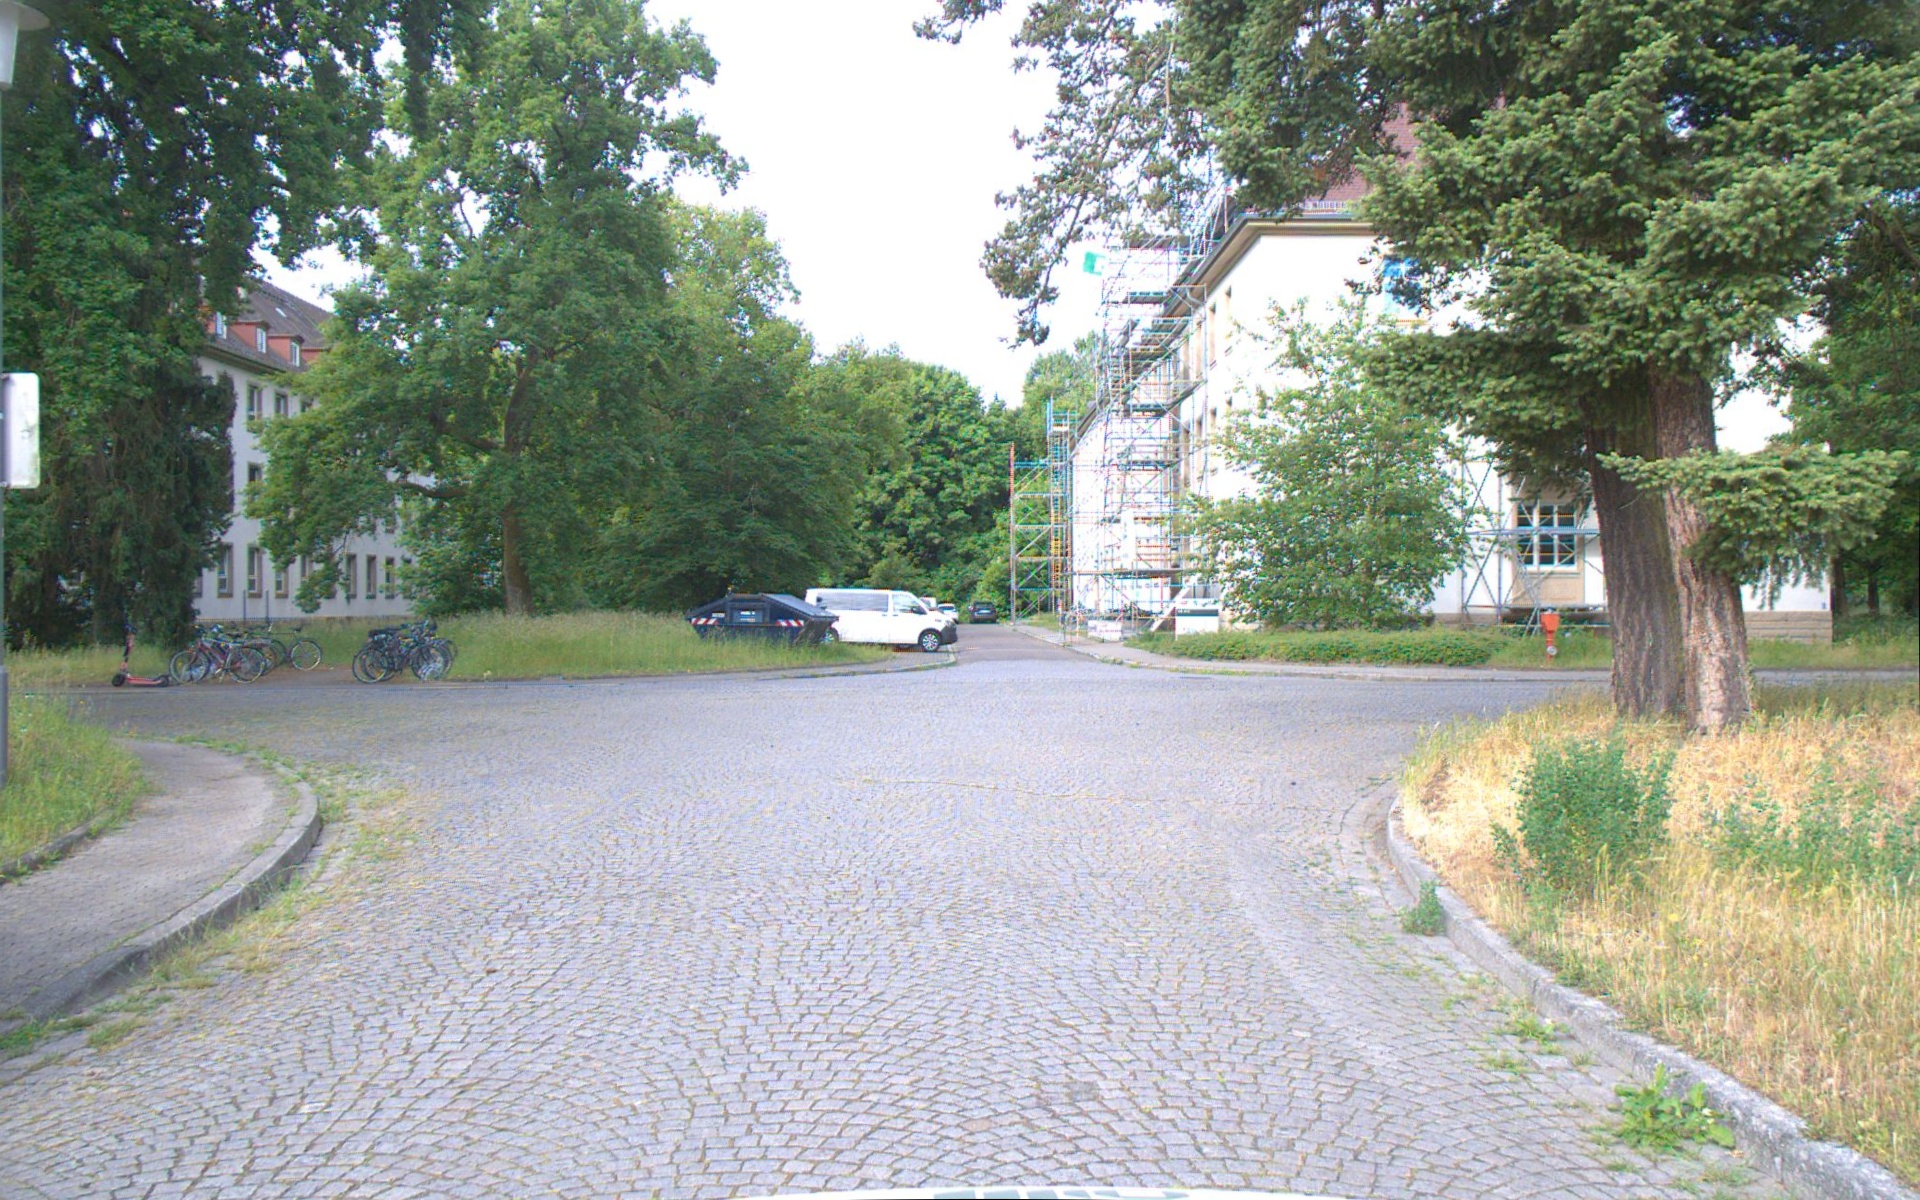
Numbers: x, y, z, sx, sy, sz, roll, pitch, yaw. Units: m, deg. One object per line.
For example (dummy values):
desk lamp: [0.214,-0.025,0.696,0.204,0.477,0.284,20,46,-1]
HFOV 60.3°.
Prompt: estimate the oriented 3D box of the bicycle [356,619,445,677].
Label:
bicycle: [-11.874,1.007,35.093,1.742,1.122,0.699,-2,2,-20]

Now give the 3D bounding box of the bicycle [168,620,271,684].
bicycle: [-15.114,1.053,33.790,1.867,1.244,0.640,0,2,-20]

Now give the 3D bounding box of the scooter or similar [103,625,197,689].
scooter or similar: [-16.177,1.129,33.053,1.515,1.216,0.682,-1,1,3]

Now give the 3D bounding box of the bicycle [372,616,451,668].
bicycle: [-12.938,0.973,39.018,1.745,1.124,0.538,-2,2,-20]

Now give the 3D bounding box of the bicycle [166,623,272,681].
bicycle: [-15.392,1.072,34.406,1.956,1.133,0.640,0,2,-20]

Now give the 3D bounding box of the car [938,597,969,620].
car: [-0.510,0.646,120.257,1.962,1.575,3.955,2,-1,-4]

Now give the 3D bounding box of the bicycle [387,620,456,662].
bicycle: [-13.232,1.000,40.659,1.592,0.926,0.524,-2,2,-20]

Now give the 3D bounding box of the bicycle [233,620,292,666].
bicycle: [-16.775,1.036,39.800,1.240,1.047,0.431,-2,-2,-20]

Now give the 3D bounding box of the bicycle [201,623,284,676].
bicycle: [-15.619,1.064,36.011,1.608,1.092,0.534,-1,2,-31]

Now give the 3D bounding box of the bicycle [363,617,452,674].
bicycle: [-11.970,0.974,35.849,1.767,1.122,0.699,-2,2,-20]

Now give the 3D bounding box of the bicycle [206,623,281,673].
bicycle: [-16.188,1.073,37.363,1.496,1.053,0.540,-1,2,-31]

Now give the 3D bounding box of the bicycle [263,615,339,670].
bicycle: [-15.326,0.972,38.481,1.619,1.206,0.569,-1,2,-27]

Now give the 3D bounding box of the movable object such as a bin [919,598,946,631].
movable object such as a bin: [-1.218,0.658,73.678,1.159,1.432,0.975,2,-1,0]

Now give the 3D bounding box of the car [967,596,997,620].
car: [1.643,0.611,120.433,2.020,1.621,4.001,2,-1,2]

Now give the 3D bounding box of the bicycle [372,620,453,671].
bicycle: [-12.098,0.989,36.574,1.666,1.019,0.628,-2,2,-20]

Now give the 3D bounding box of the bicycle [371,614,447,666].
bicycle: [-13.162,0.947,39.513,1.671,1.135,0.538,-2,2,-20]

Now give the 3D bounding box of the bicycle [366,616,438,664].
bicycle: [-13.484,0.964,39.981,1.592,1.077,0.524,-2,2,-20]

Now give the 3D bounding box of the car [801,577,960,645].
car: [-2.573,0.360,54.226,5.095,2.096,2.187,1,-1,-2]

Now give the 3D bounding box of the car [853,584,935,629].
car: [-3.262,0.320,81.672,3.909,2.049,1.919,2,-1,-5]

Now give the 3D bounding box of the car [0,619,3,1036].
car: [-5.642,0.819,5.145,4.340,1.505,1.682,0,0,0]

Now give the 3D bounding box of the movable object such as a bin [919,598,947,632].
movable object such as a bin: [-1.182,0.670,72.545,1.159,1.432,0.975,2,-1,0]

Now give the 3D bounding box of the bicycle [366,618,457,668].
bicycle: [-12.374,0.963,37.335,1.925,1.022,0.682,-2,2,-20]
